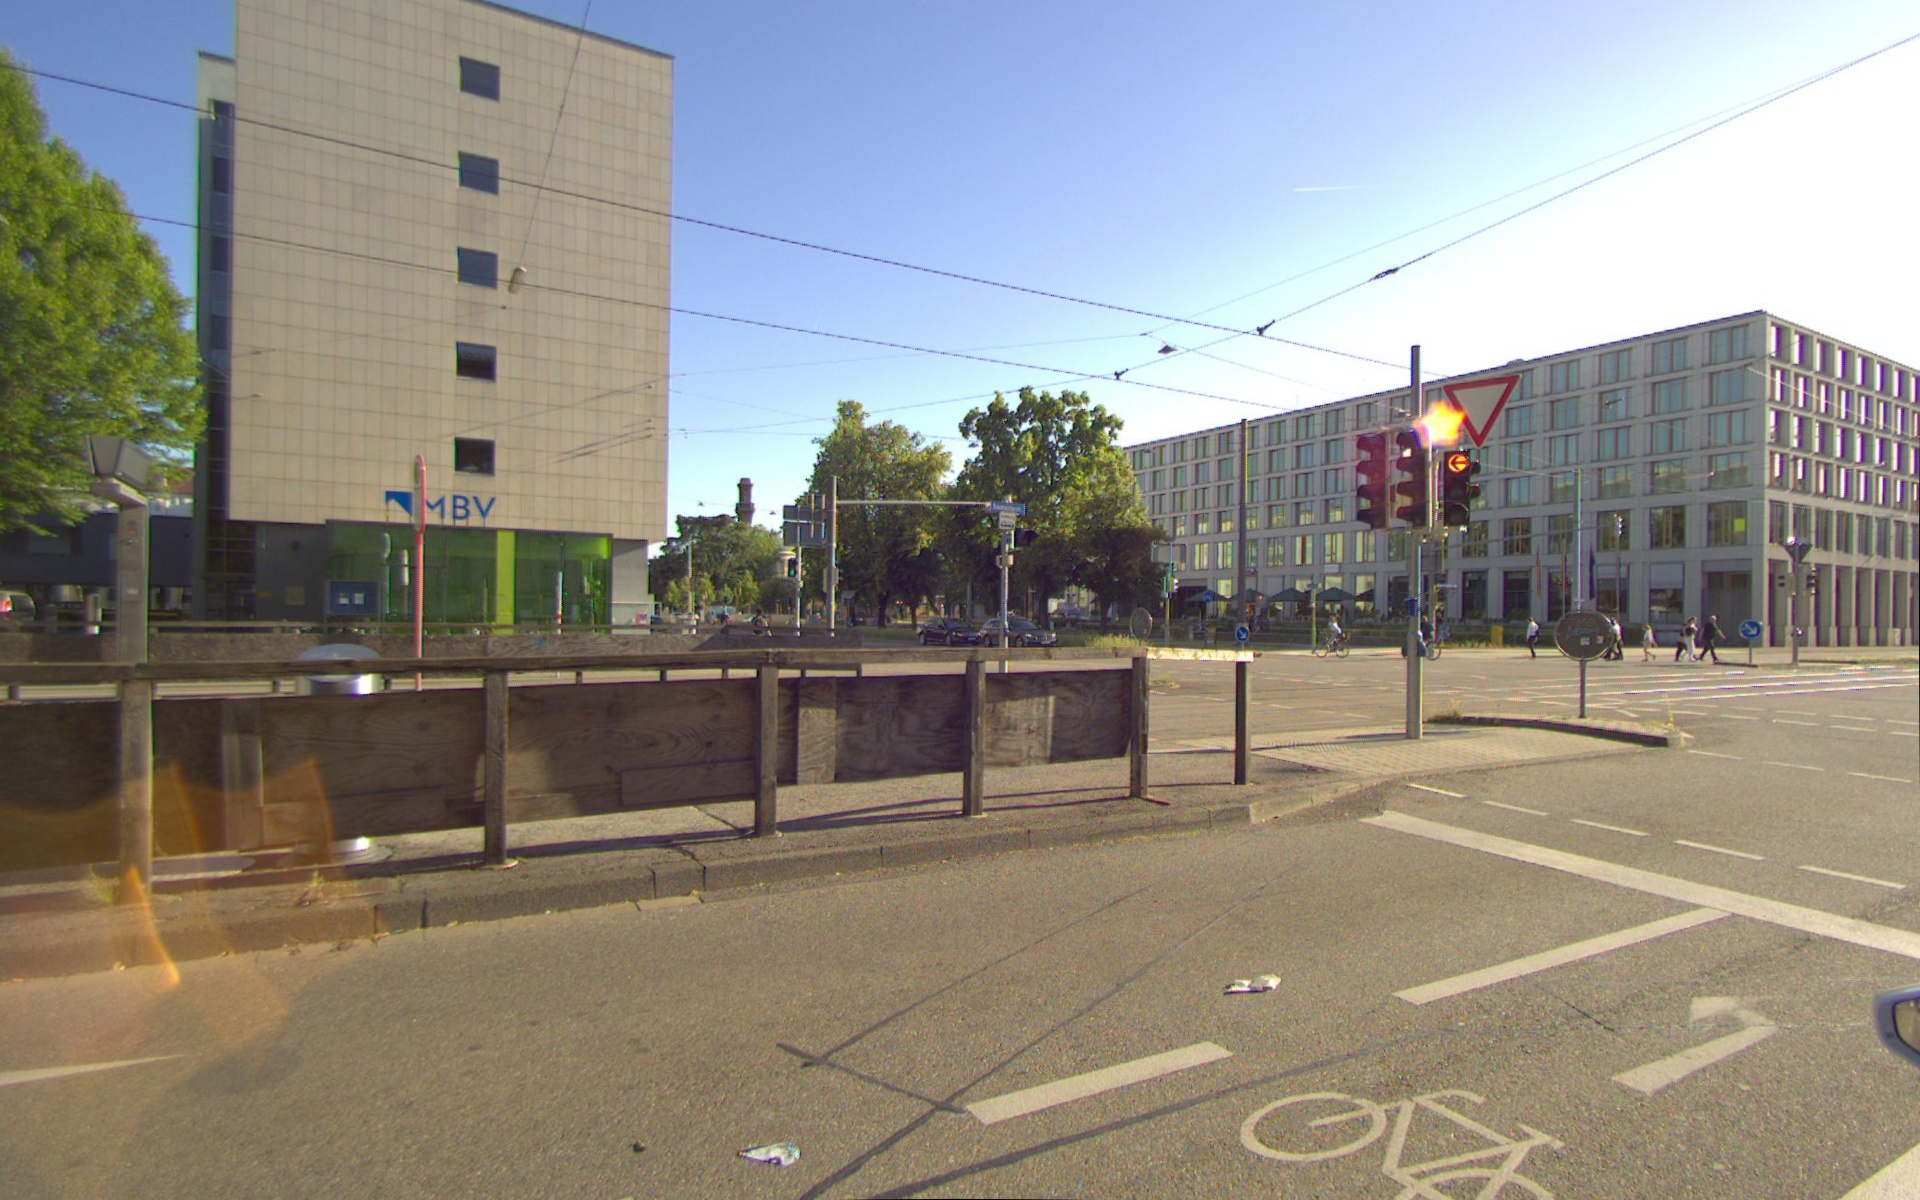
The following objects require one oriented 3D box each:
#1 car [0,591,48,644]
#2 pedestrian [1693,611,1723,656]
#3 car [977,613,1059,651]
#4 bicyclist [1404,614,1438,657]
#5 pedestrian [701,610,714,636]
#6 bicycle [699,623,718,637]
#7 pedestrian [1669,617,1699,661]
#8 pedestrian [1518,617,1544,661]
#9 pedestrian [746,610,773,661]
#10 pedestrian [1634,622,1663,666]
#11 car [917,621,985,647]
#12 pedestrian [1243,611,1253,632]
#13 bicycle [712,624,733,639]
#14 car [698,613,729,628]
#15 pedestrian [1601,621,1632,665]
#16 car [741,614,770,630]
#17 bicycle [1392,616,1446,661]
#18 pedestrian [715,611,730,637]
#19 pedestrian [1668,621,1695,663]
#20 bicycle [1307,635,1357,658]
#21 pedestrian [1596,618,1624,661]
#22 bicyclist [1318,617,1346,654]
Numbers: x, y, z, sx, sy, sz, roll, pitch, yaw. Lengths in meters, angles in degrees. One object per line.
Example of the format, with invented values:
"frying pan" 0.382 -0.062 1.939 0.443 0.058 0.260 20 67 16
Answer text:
"car" -27.735 0.446 27.754 3.371 1.431 1.562 2 0 -20
"pedestrian" 30.298 1.367 40.706 0.668 1.784 0.746 2 -2 -25
"car" 2.671 1.487 47.736 1.829 1.602 4.496 1 1 -28
"bicyclist" 18.280 1.406 39.826 1.063 1.662 0.593 0 -1 45
"pedestrian" -17.416 1.591 69.331 0.666 1.739 0.754 1 -1 -32
"bicycle" -17.375 2.067 69.260 0.669 0.973 2.131 1 -1 -32
"pedestrian" 27.669 1.484 38.393 0.615 1.666 0.787 1 -1 -34
"pedestrian" 25.465 1.746 44.802 0.628 1.943 0.800 1 -1 -24
"pedestrian" -6.909 1.215 34.558 0.814 1.739 0.757 1 -1 -18
"pedestrian" 29.004 1.858 42.338 0.525 1.827 0.867 1 -1 -24
"car" -0.526 1.774 53.369 1.755 1.311 4.209 1 -1 -30
"pedestrian" 23.602 1.796 82.303 0.556 1.691 0.537 2 0 -33
"bicycle" -16.601 2.208 70.057 0.818 0.973 2.132 1 -1 -31
"car" -27.796 2.293 113.063 1.978 1.433 4.710 4 -2 -31
"pedestrian" 27.452 1.798 42.004 0.654 1.827 0.868 1 -1 -24
"car" -20.587 2.202 100.932 1.614 1.452 4.021 3 -2 -31
"bicycle" 18.209 1.515 39.896 1.878 1.758 0.593 0 -1 45
"pedestrian" -16.579 1.666 70.037 0.818 1.829 0.754 1 -1 -31
"pedestrian" 28.967 1.686 40.355 0.614 1.666 0.691 1 -1 -29
"bicycle" 16.101 1.990 43.508 0.570 0.945 2.048 1 -1 -39
"pedestrian" 28.125 1.688 43.450 0.706 1.827 0.737 1 -1 -24
"bicyclist" 16.104 1.515 43.480 0.571 1.581 0.966 1 -1 -43
